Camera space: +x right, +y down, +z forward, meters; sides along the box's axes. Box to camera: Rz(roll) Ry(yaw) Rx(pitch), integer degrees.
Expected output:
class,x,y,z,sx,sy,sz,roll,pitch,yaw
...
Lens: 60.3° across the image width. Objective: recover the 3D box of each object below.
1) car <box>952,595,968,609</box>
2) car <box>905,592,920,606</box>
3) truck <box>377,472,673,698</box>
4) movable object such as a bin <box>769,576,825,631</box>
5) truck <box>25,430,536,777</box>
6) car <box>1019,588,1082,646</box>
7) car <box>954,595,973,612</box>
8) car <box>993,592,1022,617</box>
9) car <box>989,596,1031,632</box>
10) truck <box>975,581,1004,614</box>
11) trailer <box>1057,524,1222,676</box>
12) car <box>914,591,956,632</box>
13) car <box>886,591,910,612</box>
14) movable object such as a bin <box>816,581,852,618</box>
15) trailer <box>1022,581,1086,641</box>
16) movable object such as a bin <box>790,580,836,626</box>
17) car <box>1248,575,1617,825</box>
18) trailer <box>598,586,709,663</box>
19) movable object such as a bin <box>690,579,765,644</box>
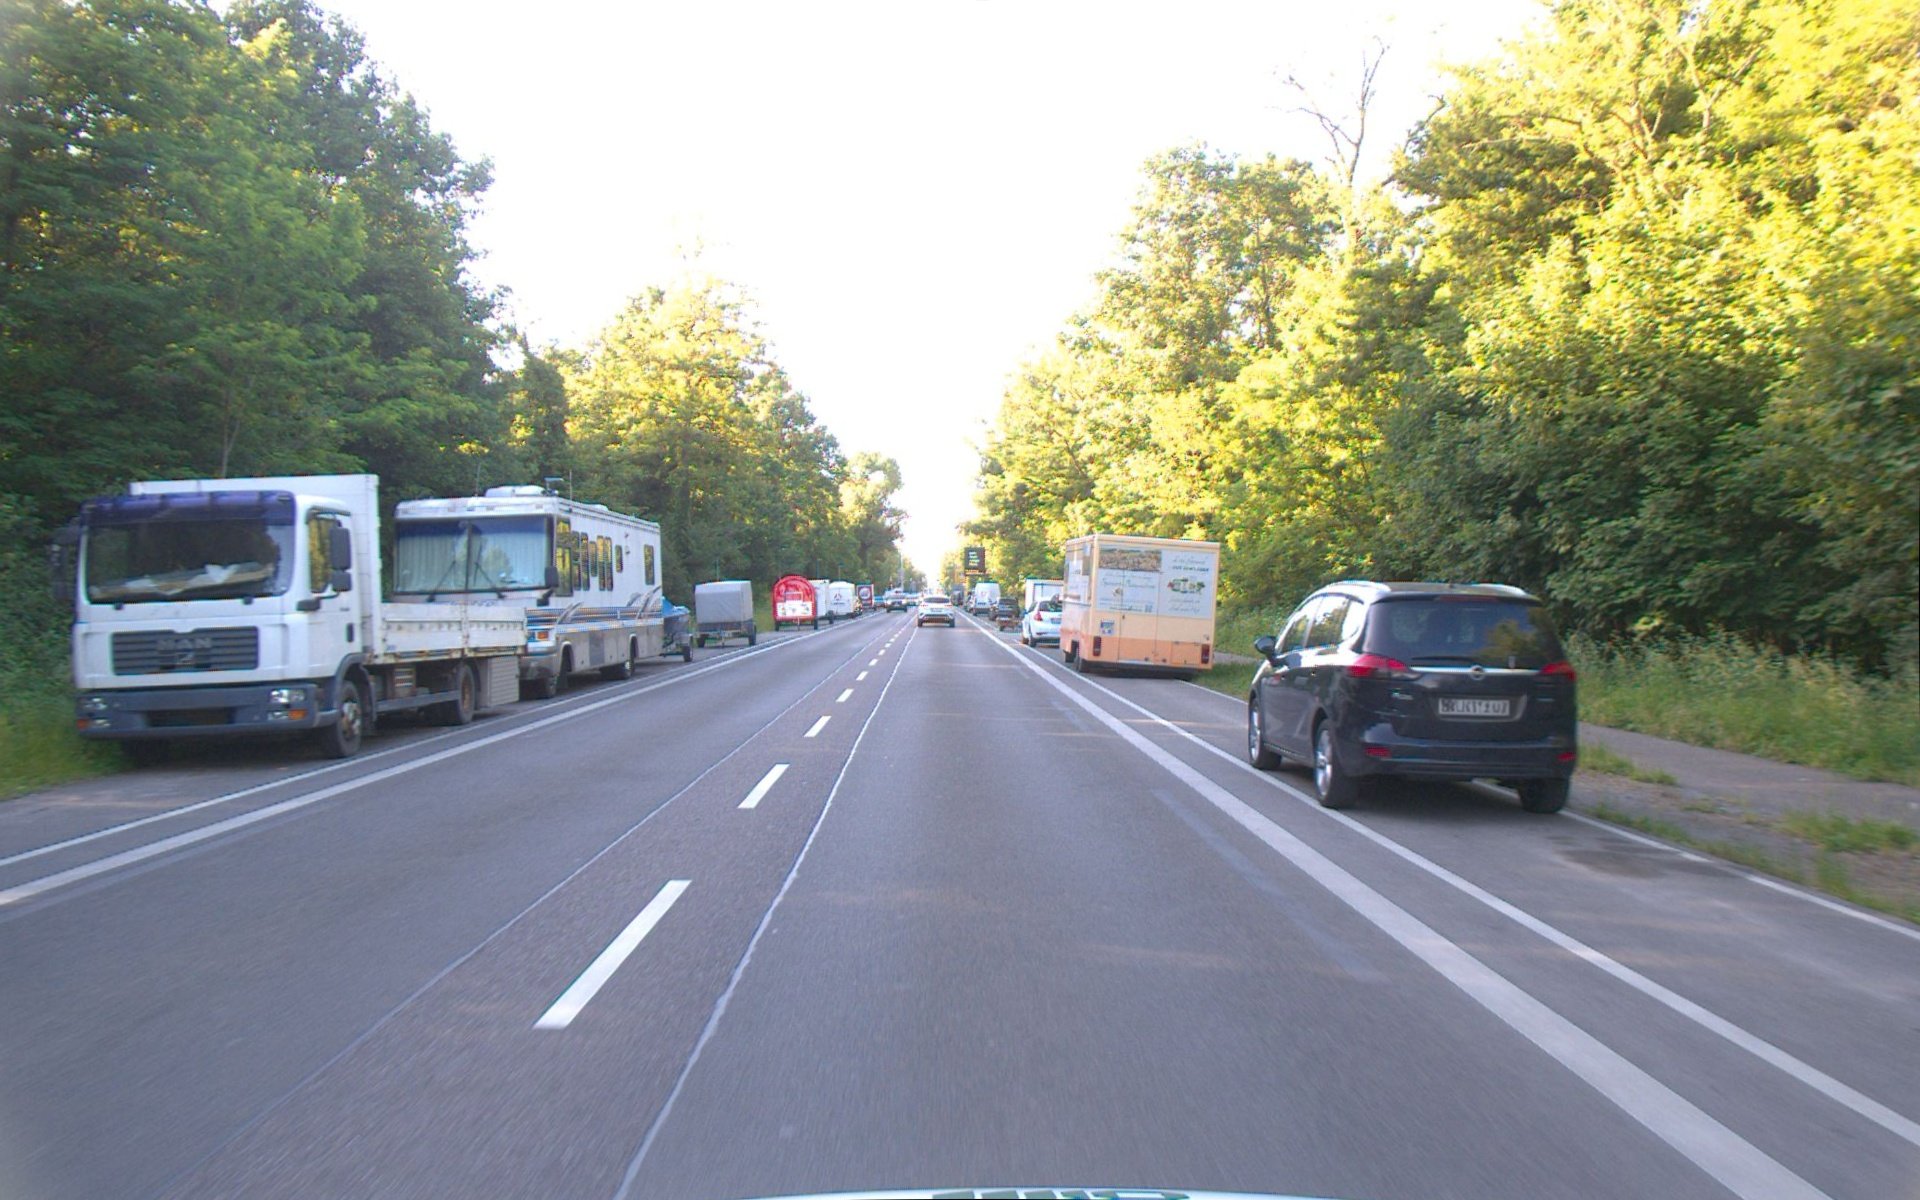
class,x,y,z,sx,sy,sz,roll,pitch,yaw
car,-0.004,0.162,178.803,1.622,1.504,3.753,0,0,-1
car,-5.800,-0.096,202.823,1.743,1.694,4.429,-1,0,-1
truck,-7.514,-0.245,30.436,2.652,3.406,10.921,0,0,-1
movable object such as a bin,-7.677,0.159,78.196,2.275,2.545,3.999,0,0,-1
truck,-7.200,0.022,19.041,2.652,3.148,7.988,0,0,-1
car,2.759,0.496,51.139,1.697,1.713,3.999,0,0,-1
car,0.312,0.311,146.543,1.622,1.504,3.753,0,0,-1
car,2.892,0.263,102.143,1.622,1.504,3.753,0,0,-1
car,2.115,0.564,71.038,1.622,1.504,3.753,0,0,-1
truck,2.222,-0.191,126.039,2.054,2.495,5.679,0,0,-1
trailer,3.658,-0.010,35.155,2.701,2.920,6.587,0,0,-1
car,-1.188,0.524,79.724,1.987,1.872,4.028,0,0,-1
car,-5.474,0.125,146.440,1.953,1.707,3.999,-1,0,-1
movable object such as a bin,-8.759,-0.021,115.085,2.275,2.545,3.999,0,0,-1
trailer,3.237,0.361,57.831,1.953,2.004,3.999,0,0,-1
movable object such as a bin,-8.177,0.160,92.385,2.275,2.545,3.999,0,0,-1
car,3.588,0.676,13.325,1.803,1.691,4.000,1,0,0
trailer,-7.433,0.550,40.500,1.953,1.780,4.327,0,0,-1
movable object such as a bin,-7.542,0.355,53.920,1.914,2.049,3.999,0,0,-1
